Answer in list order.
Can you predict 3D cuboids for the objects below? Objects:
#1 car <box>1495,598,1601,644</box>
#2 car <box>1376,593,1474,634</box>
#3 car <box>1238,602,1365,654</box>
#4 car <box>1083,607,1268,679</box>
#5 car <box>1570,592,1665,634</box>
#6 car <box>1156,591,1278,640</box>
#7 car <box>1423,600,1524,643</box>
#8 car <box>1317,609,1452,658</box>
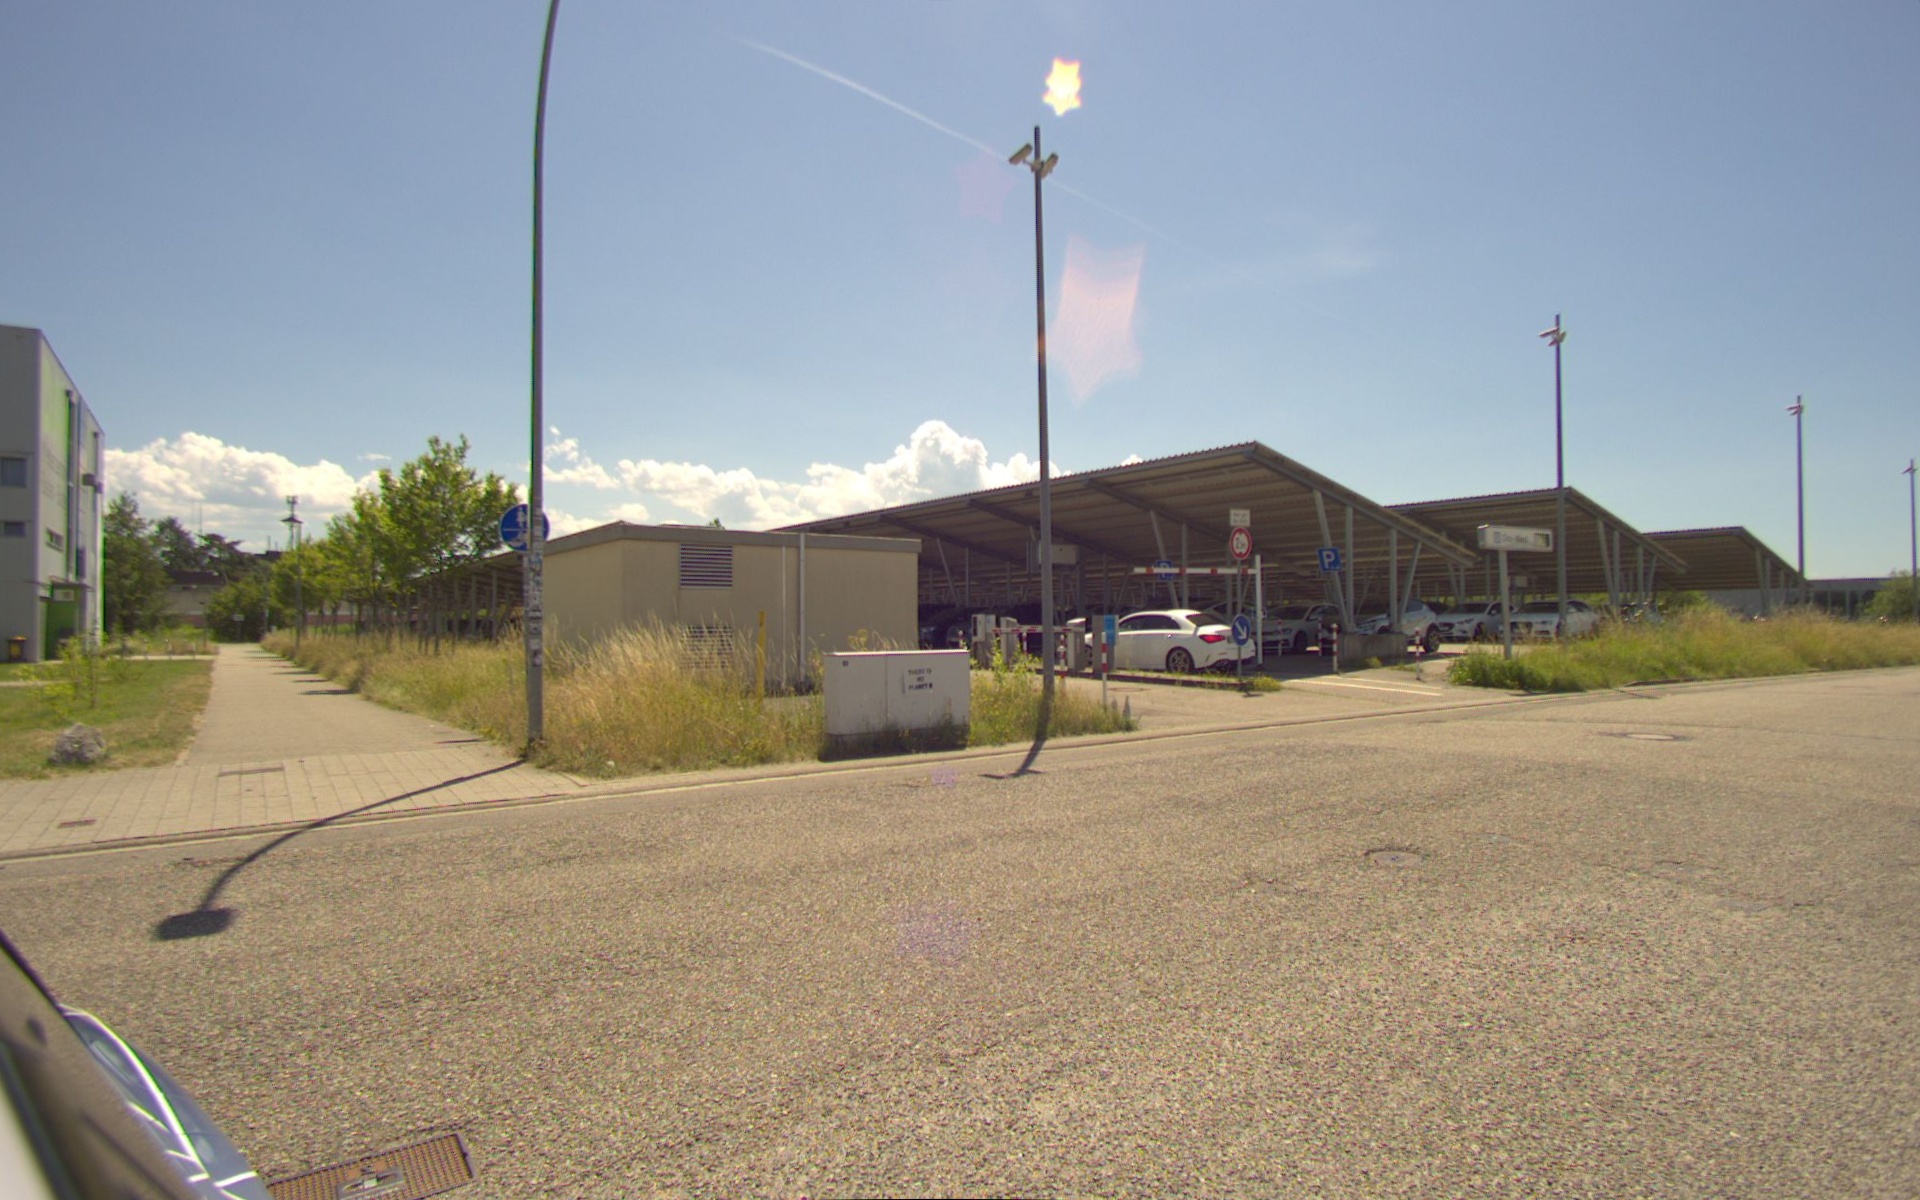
[{"bbox_3d":[19.455,0.706,33.446,3.714,1.447,1.727,1,-2,-37],"label":"car"},{"bbox_3d":[17.316,0.535,37.635,3.714,1.447,1.727,1,-2,-37],"label":"car"},{"bbox_3d":[9.996,0.809,29.526,3.714,1.447,1.727,1,-2,-37],"label":"car"},{"bbox_3d":[4.638,0.917,22.239,1.695,1.447,3.784,1,-2,-38],"label":"car"},{"bbox_3d":[23.990,0.485,36.893,3.714,1.447,1.727,1,-2,-37],"label":"car"},{"bbox_3d":[8.041,0.497,31.533,3.714,1.447,1.727,1,-2,-37],"label":"car"},{"bbox_3d":[18.280,0.764,35.973,3.714,1.447,1.727,1,-2,-37],"label":"car"},{"bbox_3d":[11.505,0.882,27.350,3.714,1.237,1.727,1,-2,-37],"label":"car"}]
